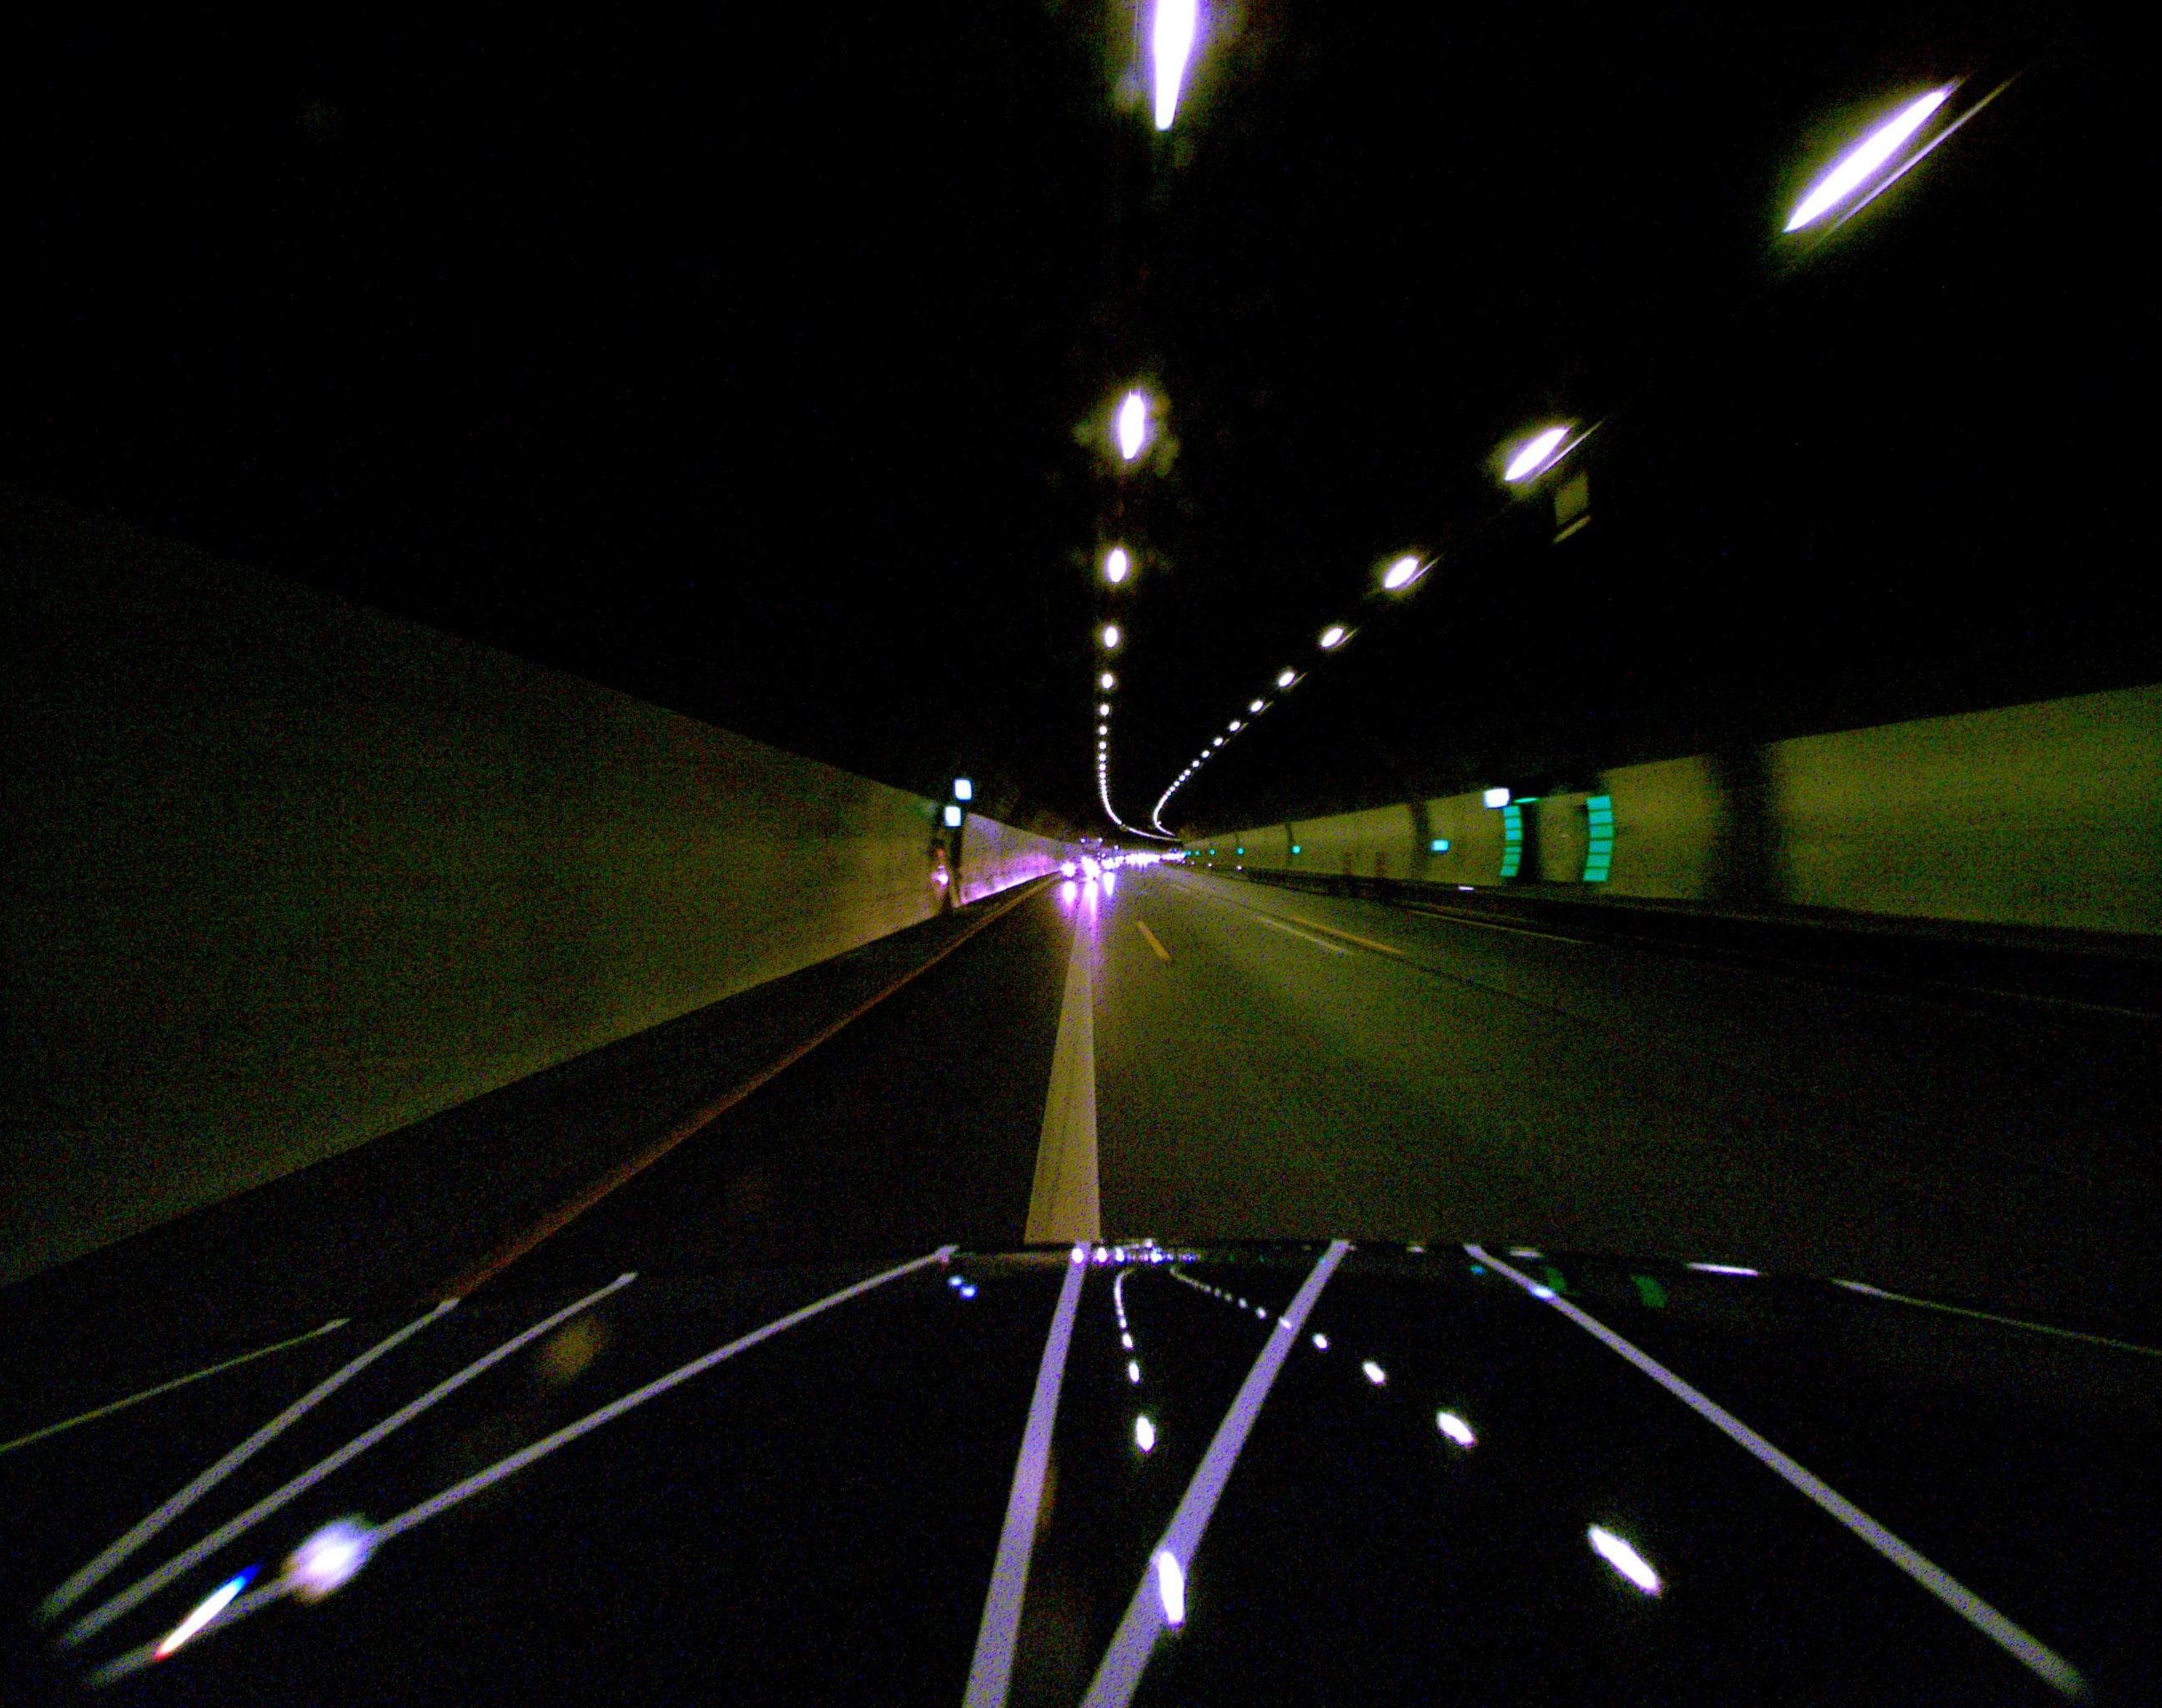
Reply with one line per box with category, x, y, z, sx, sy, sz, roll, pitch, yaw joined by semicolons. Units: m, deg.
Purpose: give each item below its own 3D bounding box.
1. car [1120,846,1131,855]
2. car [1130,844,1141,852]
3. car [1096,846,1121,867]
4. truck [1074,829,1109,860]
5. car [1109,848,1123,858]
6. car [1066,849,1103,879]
car;9.945;-0.785;169.233;1.997;1.892;4.003;0;0;11
car;13.304;-1.499;185.766;1.996;1.917;4.390;-1;0;14
car;2.265;0.190;64.203;1.998;1.655;4.000;-1;0;1
truck;1.258;-0.940;83.844;2.988;3.161;10.513;-1;0;5
car;6.501;-0.136;142.174;1.997;1.892;4.004;0;0;12
car;0.259;0.611;46.941;2.171;1.709;4.482;-1;0;1
